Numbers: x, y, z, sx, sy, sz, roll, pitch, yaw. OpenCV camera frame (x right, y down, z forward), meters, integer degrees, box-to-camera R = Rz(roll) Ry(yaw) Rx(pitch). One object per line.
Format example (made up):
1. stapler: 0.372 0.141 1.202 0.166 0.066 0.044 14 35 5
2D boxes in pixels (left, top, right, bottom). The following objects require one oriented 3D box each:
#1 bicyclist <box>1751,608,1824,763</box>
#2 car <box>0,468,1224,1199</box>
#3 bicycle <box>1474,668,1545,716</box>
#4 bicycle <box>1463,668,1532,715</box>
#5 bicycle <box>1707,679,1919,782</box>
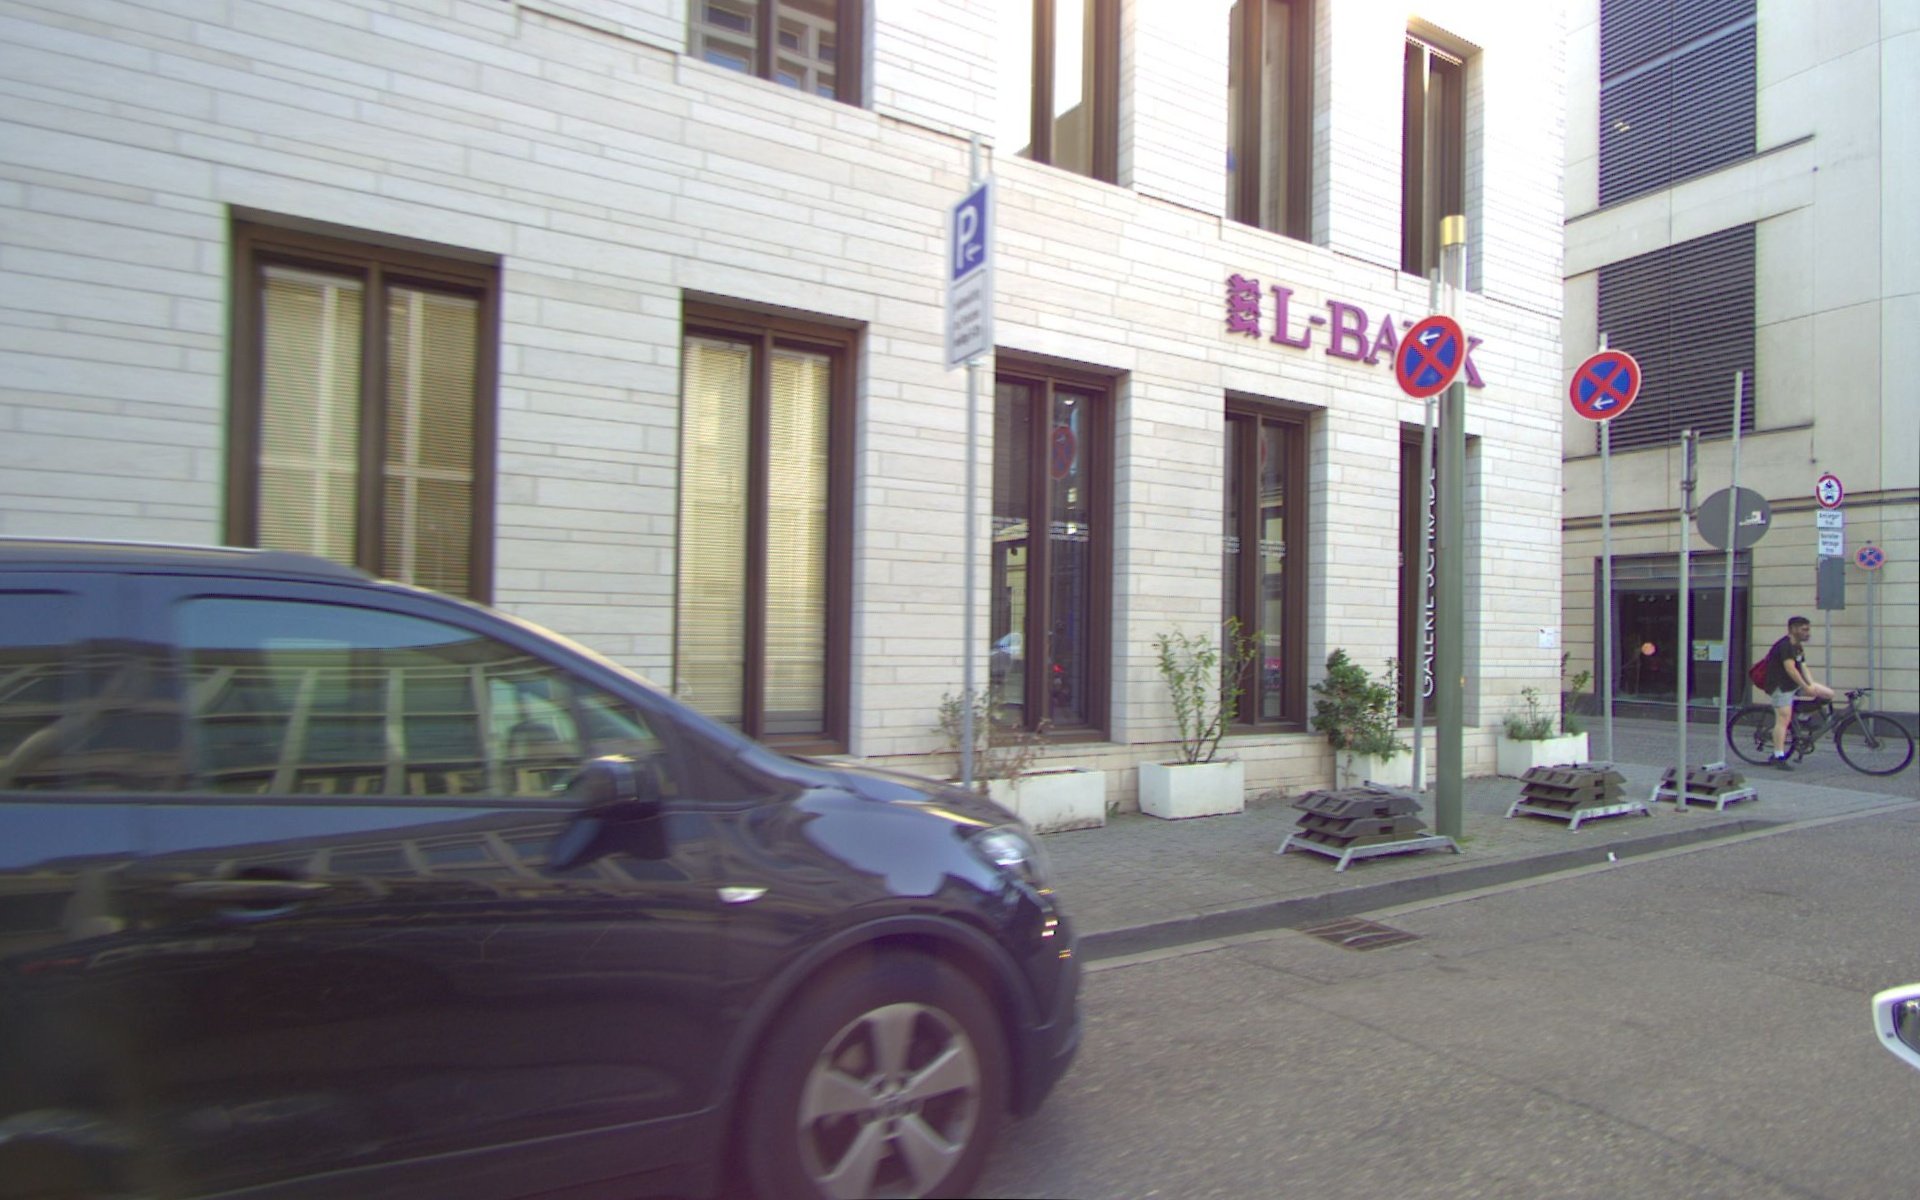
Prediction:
1. bicyclist: 9.700 0.977 11.771 0.497 1.754 0.546 3 -2 -37
2. car: -1.529 0.697 2.657 4.211 1.699 1.815 1 -4 -29
3. bicycle: 12.386 2.073 22.651 1.491 1.047 0.352 1 -2 -9
4. bicycle: 12.325 2.091 23.033 1.491 1.047 0.352 1 -2 -9
5. bicycle: 9.796 1.461 11.608 0.506 0.986 1.801 3 -2 -37
